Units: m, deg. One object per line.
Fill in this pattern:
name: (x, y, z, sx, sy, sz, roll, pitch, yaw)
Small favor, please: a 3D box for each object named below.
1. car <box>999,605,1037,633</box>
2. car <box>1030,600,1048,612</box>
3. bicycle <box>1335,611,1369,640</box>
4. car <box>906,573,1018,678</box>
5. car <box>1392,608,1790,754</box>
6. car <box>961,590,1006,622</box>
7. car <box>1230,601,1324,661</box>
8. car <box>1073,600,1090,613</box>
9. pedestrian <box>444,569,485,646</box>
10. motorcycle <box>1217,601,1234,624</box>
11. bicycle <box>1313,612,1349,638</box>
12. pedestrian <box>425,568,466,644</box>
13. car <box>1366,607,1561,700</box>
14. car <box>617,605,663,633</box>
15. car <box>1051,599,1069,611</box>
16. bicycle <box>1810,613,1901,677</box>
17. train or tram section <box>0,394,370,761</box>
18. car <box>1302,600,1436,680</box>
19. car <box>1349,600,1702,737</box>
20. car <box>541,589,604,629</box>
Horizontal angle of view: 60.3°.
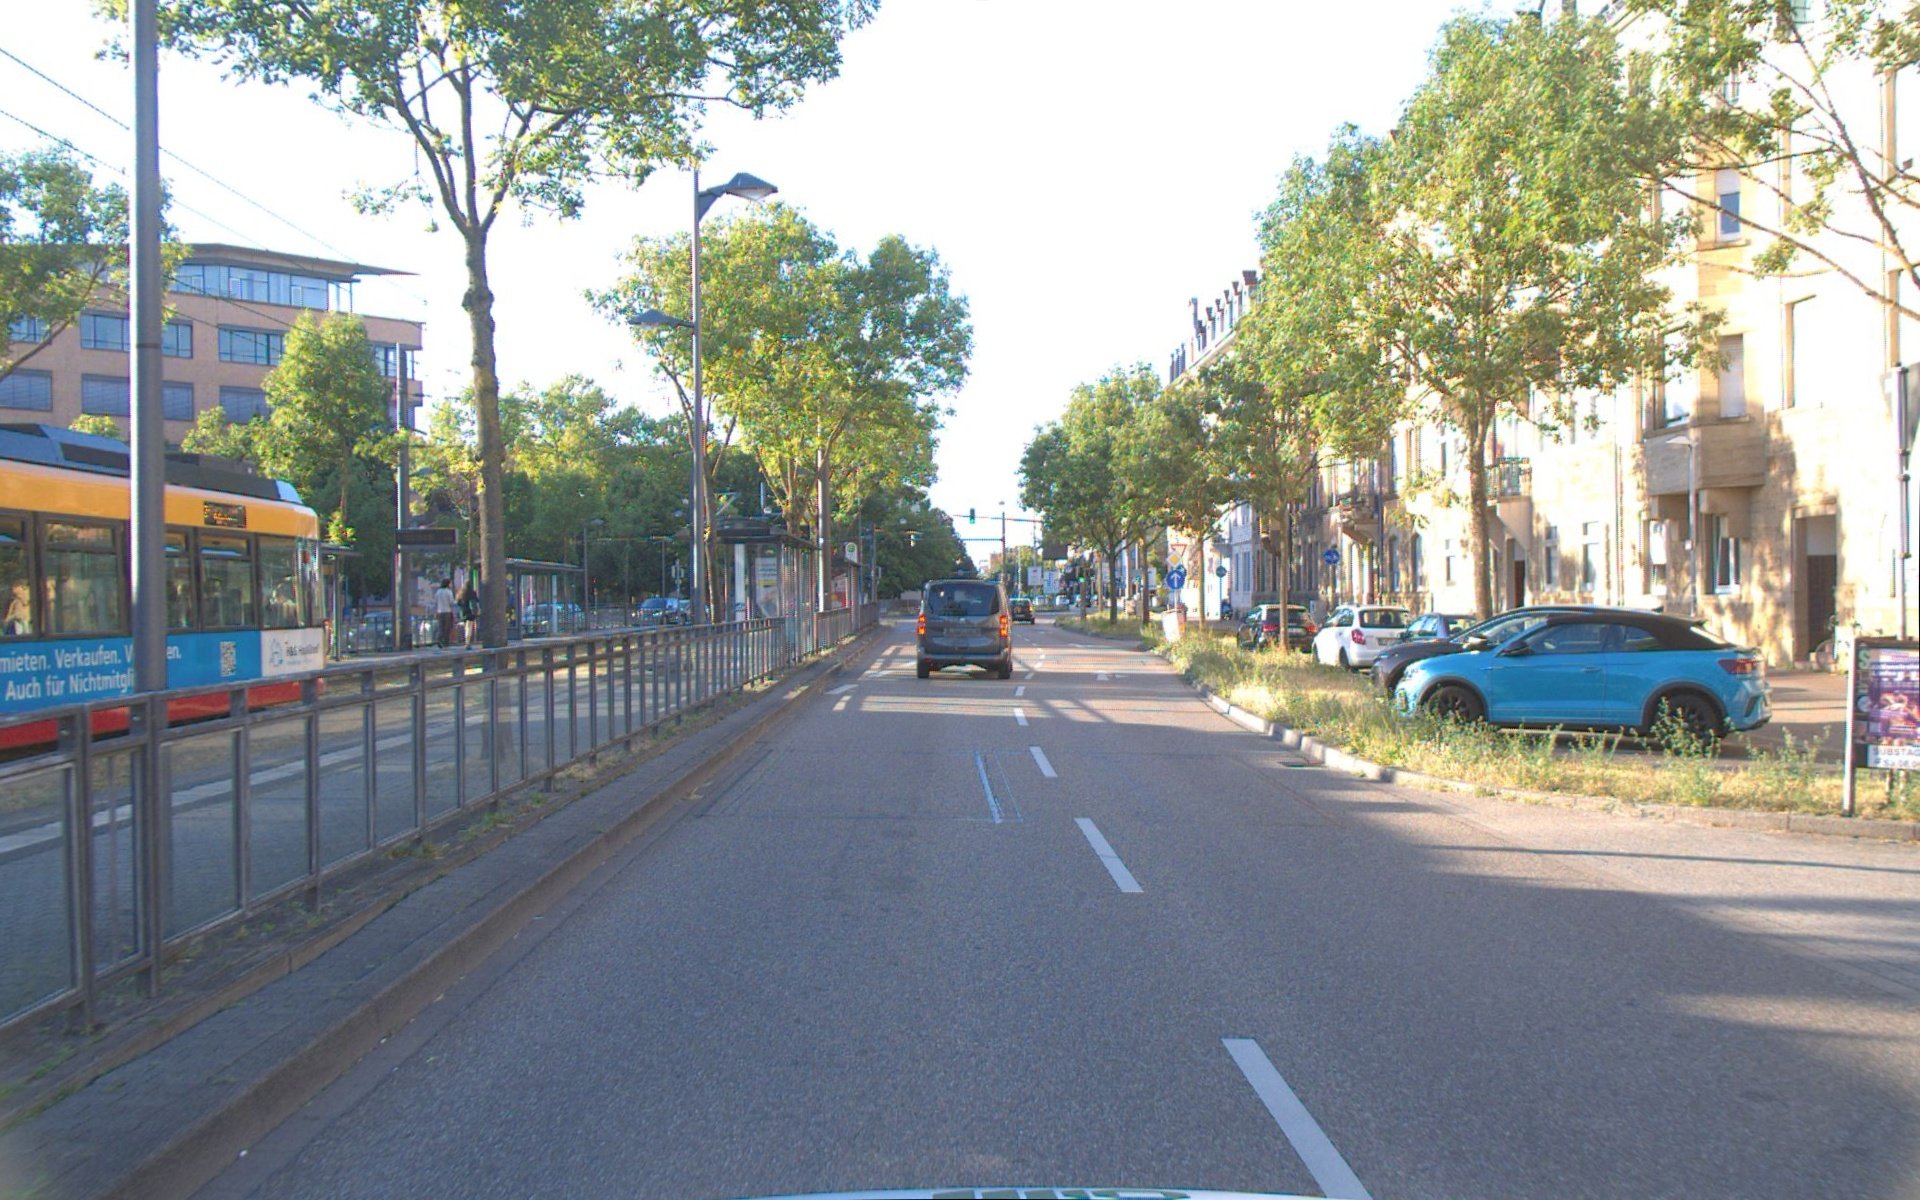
car: (3.355, 1.077, 95.903, 1.953, 1.537, 3.999, 1, 0, -1)
car: (10.920, 0.814, 228.333, 1.954, 1.685, 4.296, -1, 0, -3)
bicycle: (13.967, 0.903, 59.018, 0.718, 0.965, 2.340, -2, 0, 2)
car: (0.113, 0.489, 33.382, 1.952, 1.934, 4.301, 1, 0, 4)
car: (7.491, 0.882, 19.750, 4.196, 1.548, 1.842, 0, 0, 32)
car: (1.161, 0.288, 84.132, 1.954, 1.537, 3.997, 1, 0, -4)
car: (8.534, 0.796, 44.870, 1.669, 1.474, 4.288, 2, 0, 0)
car: (16.419, 0.872, 224.052, 1.952, 1.685, 4.299, -1, 0, 1)
pedestrian: (-13.341, 0.199, 44.566, 0.754, 2.049, 1.127, 0, 0, 1)
motorcycle: (14.563, 0.680, 90.800, 0.542, 1.235, 2.071, 1, 0, -2)
bicycle: (13.800, 0.927, 61.572, 0.854, 0.932, 2.085, -2, 0, 1)
pedestrian: (-14.132, 0.168, 45.440, 0.754, 2.049, 1.127, 0, 0, 1)
car: (8.957, 0.900, 29.880, 1.906, 1.470, 4.907, 2, 0, -1)
car: (-17.554, 1.039, 90.839, 1.758, 1.440, 4.340, 1, 0, -1)
car: (13.709, 0.698, 227.330, 1.954, 1.685, 4.296, -1, 0, -3)
bicycle: (16.001, 0.788, 29.604, 0.560, 1.092, 1.896, -1, 0, -1)
train or tram section: (-10.614, -0.189, 18.356, 3.361, 3.398, 13.854, 0, 0, -1)
car: (8.672, 0.801, 35.408, 1.691, 1.538, 4.271, 2, 0, -1)
car: (7.649, 0.851, 22.422, 4.245, 1.599, 1.998, 2, 1, 29)
car: (-16.663, 0.372, 71.272, 1.821, 1.683, 3.999, 0, 0, -1)
